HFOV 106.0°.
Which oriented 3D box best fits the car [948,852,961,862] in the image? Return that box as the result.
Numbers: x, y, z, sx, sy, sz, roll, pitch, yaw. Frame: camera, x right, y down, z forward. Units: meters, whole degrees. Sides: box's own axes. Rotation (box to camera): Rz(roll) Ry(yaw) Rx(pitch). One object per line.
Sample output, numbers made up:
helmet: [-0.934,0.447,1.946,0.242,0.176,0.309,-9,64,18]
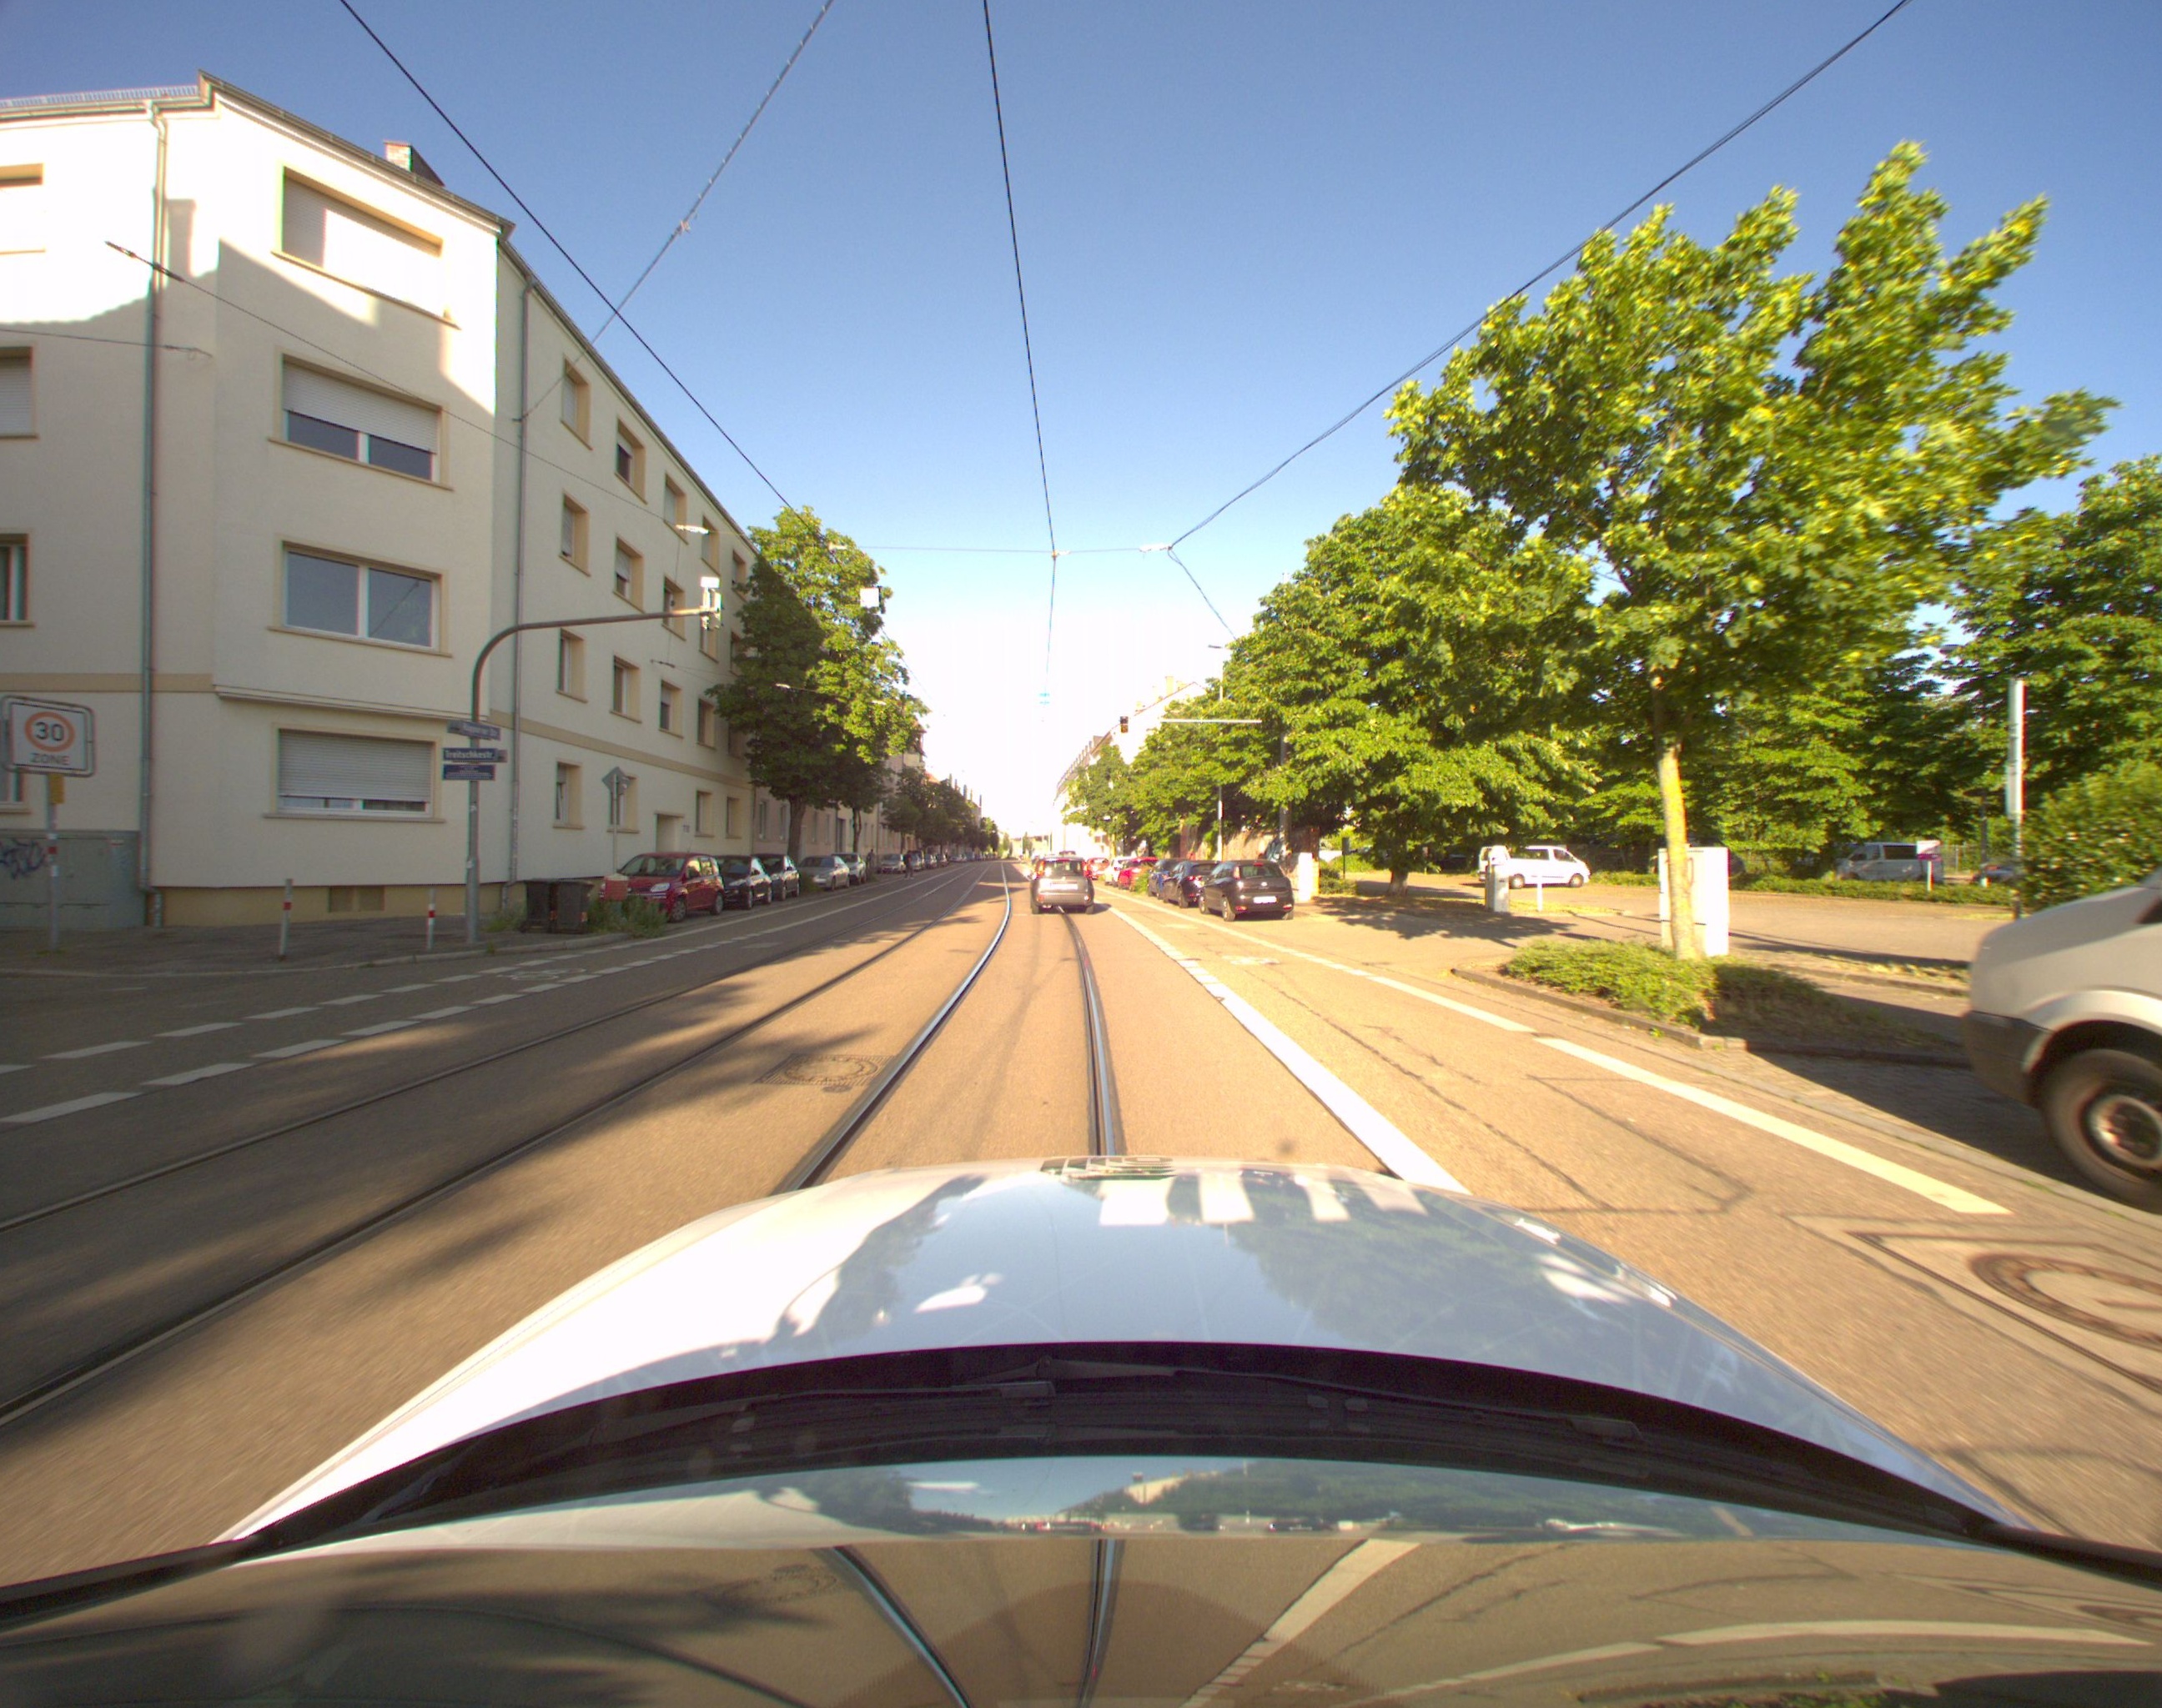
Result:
car: [-20.366,0.467,131.101,1.704,1.496,3.715,2,0,-5]

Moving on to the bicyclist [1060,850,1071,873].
bicyclist: [-1.188,0.552,62.028,0.698,1.759,0.756,2,0,-7]

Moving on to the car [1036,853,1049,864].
car: [-5.670,0.697,119.704,1.581,1.599,3.369,2,0,-7]

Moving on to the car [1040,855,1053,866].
car: [-4.763,0.904,113.068,1.581,1.405,3.369,2,0,-7]

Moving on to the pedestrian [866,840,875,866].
pedestrian: [-15.385,-0.065,59.566,0.535,1.826,0.541,2,0,-6]

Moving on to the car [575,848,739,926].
car: [-9.470,0.673,18.569,1.684,1.530,3.997,2,0,-2]

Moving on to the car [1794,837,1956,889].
car: [30.870,0.346,31.739,4.674,1.816,1.959,2,0,-5]

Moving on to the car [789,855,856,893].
car: [-11.016,0.795,35.064,1.686,1.475,4.652,2,0,-4]

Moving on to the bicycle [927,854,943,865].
bicycle: [-16.772,0.590,93.665,1.728,1.196,0.371,2,0,-10]

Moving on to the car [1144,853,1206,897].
car: [3.482,0.735,30.761,1.685,1.530,3.996,-1,0,-3]

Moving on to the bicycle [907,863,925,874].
bicycle: [-15.743,1.385,77.601,1.632,0.937,0.515,2,0,-10]

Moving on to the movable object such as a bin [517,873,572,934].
movable object such as a bin: [-9.112,0.827,13.850,0.483,0.987,0.659,2,0,-3]

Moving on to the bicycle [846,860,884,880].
bicycle: [-11.826,0.855,44.640,1.921,1.046,0.476,2,0,-5]

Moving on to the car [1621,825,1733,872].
car: [29.215,-0.268,39.970,4.185,2.241,2.138,0,0,-8]

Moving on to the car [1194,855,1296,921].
car: [4.138,0.792,21.170,1.685,1.530,3.996,-1,0,-3]

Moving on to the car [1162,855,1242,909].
car: [3.712,0.802,25.683,1.685,1.530,4.351,-1,0,-2]

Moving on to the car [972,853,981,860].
car: [-22.542,0.542,175.200,1.704,1.496,3.715,2,0,-5]

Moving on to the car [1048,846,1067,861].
car: [-2.473,-0.053,85.183,1.653,1.500,3.123,2,0,-6]

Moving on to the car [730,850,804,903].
car: [-10.416,0.689,27.260,1.591,1.614,3.718,2,0,-10]

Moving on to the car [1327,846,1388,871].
car: [21.321,0.376,62.799,3.979,1.772,1.997,2,0,-4]

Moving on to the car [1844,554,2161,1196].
car: [5.490,0.064,1.733,2.171,2.666,6.095,-2,0,3]

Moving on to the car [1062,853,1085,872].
car: [-0.653,0.719,70.924,1.653,1.571,3.491,2,0,-6]

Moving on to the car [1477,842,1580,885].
car: [20.909,0.445,38.136,3.903,1.861,1.803,2,0,-7]

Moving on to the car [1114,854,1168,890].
car: [2.714,0.793,37.805,1.688,1.530,3.989,-1,0,-8]

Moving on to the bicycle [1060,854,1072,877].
bicycle: [-1.166,0.869,62.071,0.674,1.747,2.153,2,0,-7]

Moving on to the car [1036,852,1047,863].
car: [-6.169,0.502,126.832,1.581,1.599,3.369,2,0,-7]

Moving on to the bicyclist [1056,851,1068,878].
bicyclist: [-1.256,0.693,54.041,0.698,1.759,0.756,2,0,-7]

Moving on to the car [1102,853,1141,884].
car: [2.078,0.725,42.972,1.685,1.530,3.996,-1,0,-3]

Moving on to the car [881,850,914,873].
car: [-13.206,0.529,58.853,1.806,1.508,4.182,2,0,-6]

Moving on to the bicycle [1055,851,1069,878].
bicycle: [-1.248,0.683,54.064,0.674,1.747,2.153,2,0,-7]

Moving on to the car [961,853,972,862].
car: [-20.465,0.559,145.458,1.704,1.496,3.715,2,0,-5]

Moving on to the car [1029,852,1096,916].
car: [-0.528,0.752,22.492,1.646,1.541,4.231,-1,0,-2]

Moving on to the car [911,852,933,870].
car: [-15.854,0.676,81.408,1.806,1.619,4.056,2,0,-6]

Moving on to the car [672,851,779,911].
car: [-9.959,0.710,23.116,1.785,1.530,3.847,2,0,-8]

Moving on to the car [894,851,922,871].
car: [-14.406,0.567,68.005,1.806,1.508,4.671,2,0,-6]

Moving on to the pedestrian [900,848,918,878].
pedestrian: [-10.164,0.524,48.059,0.854,1.776,0.729,-1,1,-26]

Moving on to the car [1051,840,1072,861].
car: [-1.919,-0.330,80.313,1.653,1.944,4.654,2,0,-6]

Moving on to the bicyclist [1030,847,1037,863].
bicyclist: [-6.098,0.132,104.210,0.714,2.014,0.830,2,0,-7]

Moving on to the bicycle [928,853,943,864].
bicycle: [-16.825,0.536,94.086,1.728,1.196,0.371,2,0,-10]

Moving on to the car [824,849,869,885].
car: [-11.662,0.629,40.658,1.651,1.668,4.282,2,0,-10]

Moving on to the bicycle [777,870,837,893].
bicycle: [-10.657,1.060,31.664,2.125,0.824,0.476,2,0,-7]

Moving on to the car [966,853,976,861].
car: [-21.499,0.594,159.579,1.704,1.496,3.715,2,0,-5]

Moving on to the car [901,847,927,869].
car: [-15.130,0.362,73.838,1.806,1.943,4.325,2,0,-6]

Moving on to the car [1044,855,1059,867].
car: [-3.722,0.808,101.239,1.581,1.405,3.369,-3,0,-7]

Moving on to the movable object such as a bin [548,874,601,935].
movable object such as a bin: [-8.624,0.842,13.880,0.483,0.987,0.659,2,0,-3]

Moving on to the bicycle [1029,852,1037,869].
bicycle: [-6.138,0.817,104.139,0.741,2.013,2.805,2,0,-7]

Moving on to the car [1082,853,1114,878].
car: [1.043,0.736,52.504,1.633,1.508,3.390,-2,0,-6]
